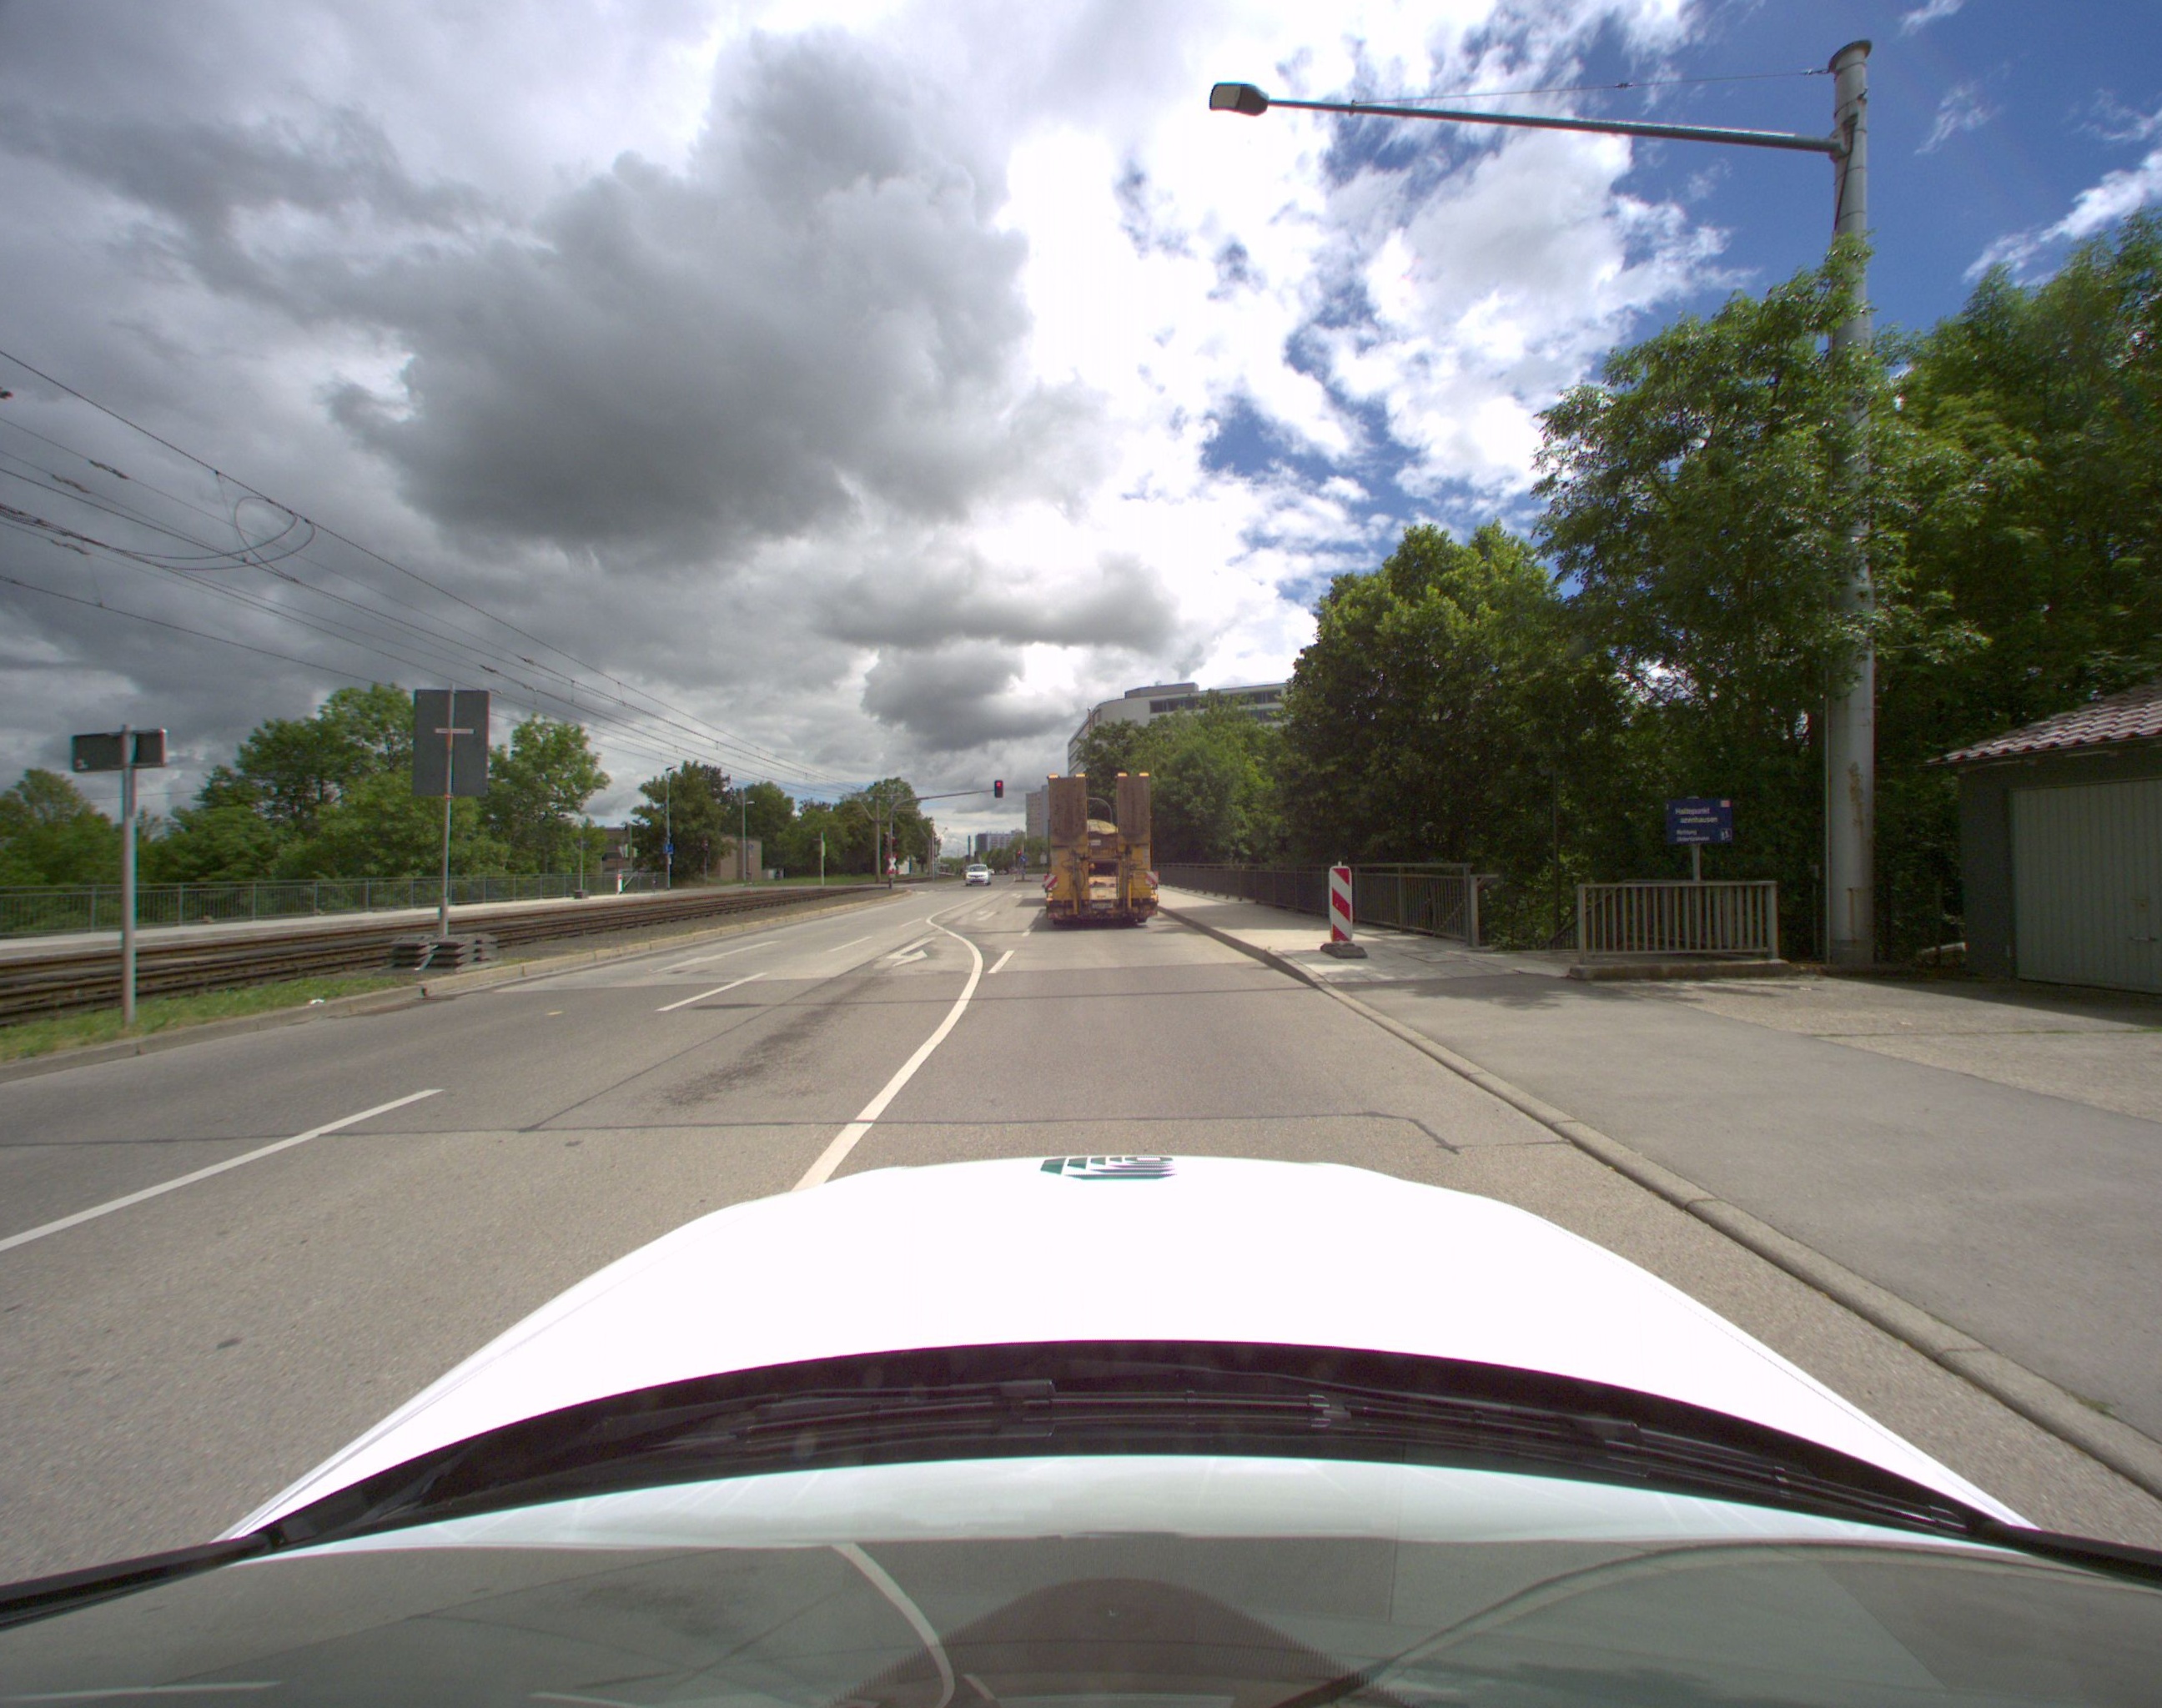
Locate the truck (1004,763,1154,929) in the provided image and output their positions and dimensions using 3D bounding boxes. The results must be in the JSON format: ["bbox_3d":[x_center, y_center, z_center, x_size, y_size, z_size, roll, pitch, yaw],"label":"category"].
[{"bbox_3d":[0.160,-0.080,24.331,3.303,3.651,12.565,0,-1,2],"label":"truck"}]

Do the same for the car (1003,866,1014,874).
[{"bbox_3d":[-15.215,3.447,170.910,1.989,1.618,3.995,1,-1,-3],"label":"car"}]

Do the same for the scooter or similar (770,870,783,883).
[{"bbox_3d":[-30.061,2.222,80.369,0.888,1.184,0.972,1,-1,-2],"label":"scooter or similar"}]

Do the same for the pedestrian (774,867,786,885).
[{"bbox_3d":[-30.039,2.219,81.244,0.799,1.811,0.808,1,-1,0],"label":"pedestrian"}]

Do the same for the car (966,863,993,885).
[{"bbox_3d":[-7.386,1.444,59.419,1.589,1.527,3.652,-1,-1,-2],"label":"car"}]

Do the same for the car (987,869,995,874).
[{"bbox_3d":[-23.236,4.504,210.763,1.780,1.271,4.338,-1,-1,-4],"label":"car"}]

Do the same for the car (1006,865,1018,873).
[{"bbox_3d":[-11.530,2.518,136.500,1.989,1.420,3.995,1,-1,-4],"label":"car"}]

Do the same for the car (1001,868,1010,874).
[{"bbox_3d":[-16.177,3.587,175.088,1.780,1.271,4.338,-1,-1,-4],"label":"car"}]

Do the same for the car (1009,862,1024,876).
[{"bbox_3d":[-9.006,2.104,113.553,1.989,1.926,3.995,1,-1,-4],"label":"car"}]

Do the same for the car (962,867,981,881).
[{"bbox_3d":[-12.197,2.216,90.719,1.780,1.570,4.338,-1,-1,-4],"label":"car"}]

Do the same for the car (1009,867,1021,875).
[{"bbox_3d":[-11.894,3.023,146.475,1.989,1.420,3.995,1,-1,-4],"label":"car"}]
